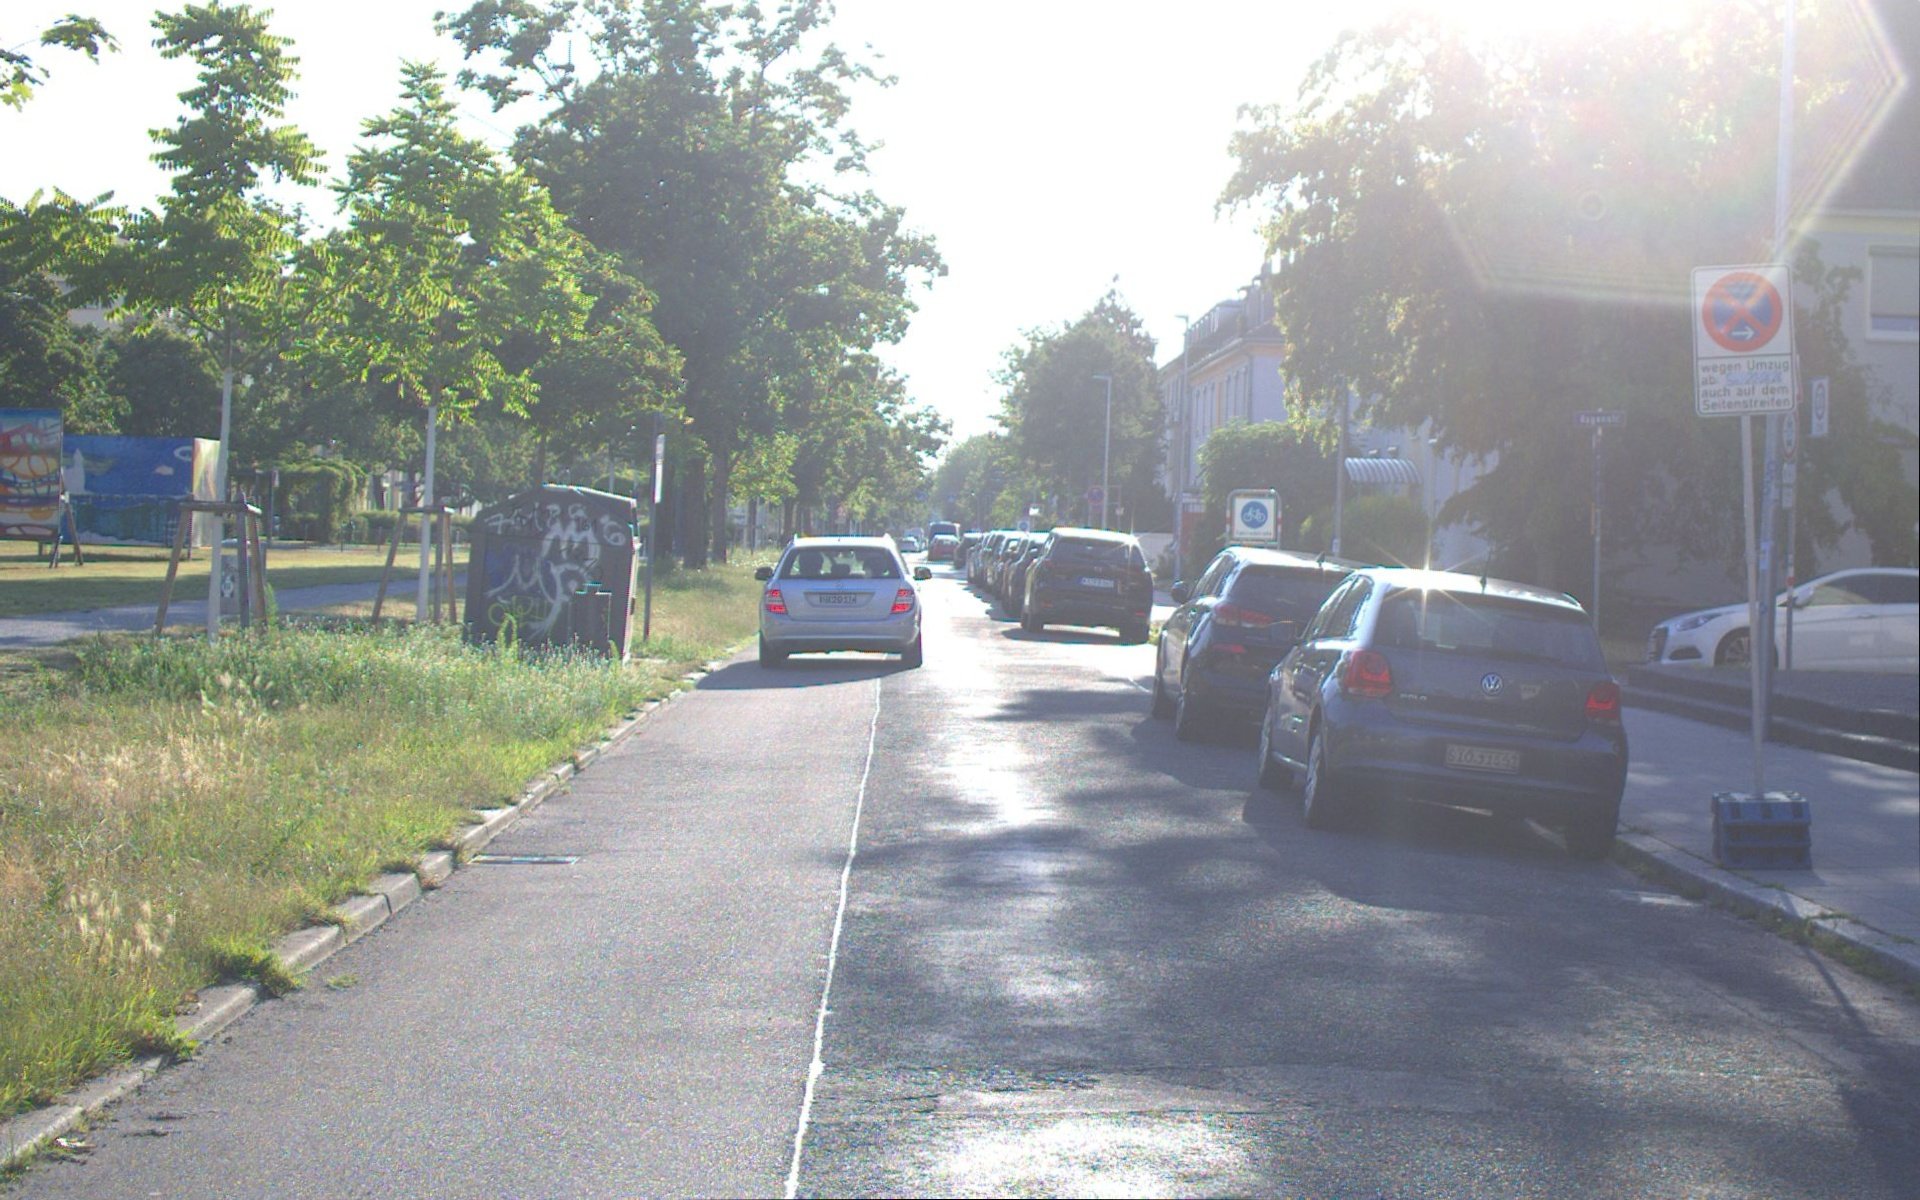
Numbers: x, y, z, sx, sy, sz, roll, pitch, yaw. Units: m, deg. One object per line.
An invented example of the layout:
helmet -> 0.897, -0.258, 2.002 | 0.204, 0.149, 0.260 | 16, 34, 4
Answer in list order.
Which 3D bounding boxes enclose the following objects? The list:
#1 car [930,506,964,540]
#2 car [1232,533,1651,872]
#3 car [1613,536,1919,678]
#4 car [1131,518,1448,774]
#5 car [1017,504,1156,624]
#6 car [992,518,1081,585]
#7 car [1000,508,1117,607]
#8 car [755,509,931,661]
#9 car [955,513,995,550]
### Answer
car -> -0.797, -4.749, 211.543 | 1.988, 2.016, 4.000 | 2, 1, 0
car -> 2.674, 0.495, 20.008 | 1.687, 1.522, 4.175 | 6, 2, -1
car -> 10.472, 0.131, 41.167 | 4.846, 1.481, 2.002 | 2, -2, -1
car -> 2.454, 0.272, 26.714 | 1.822, 1.556, 4.622 | 8, 2, 0
car -> 1.982, -0.592, 55.214 | 1.832, 1.726, 5.032 | 4, 1, -1
car -> 1.815, -1.198, 82.856 | 1.993, 1.457, 4.562 | 3, 1, 1
car -> 1.877, -0.859, 66.942 | 1.933, 1.714, 4.622 | 4, 2, -1
car -> -1.247, -0.211, 38.146 | 1.823, 1.561, 4.000 | 1, 2, 0
car -> 0.669, -3.048, 153.346 | 1.721, 1.591, 4.000 | 1, 1, 0
